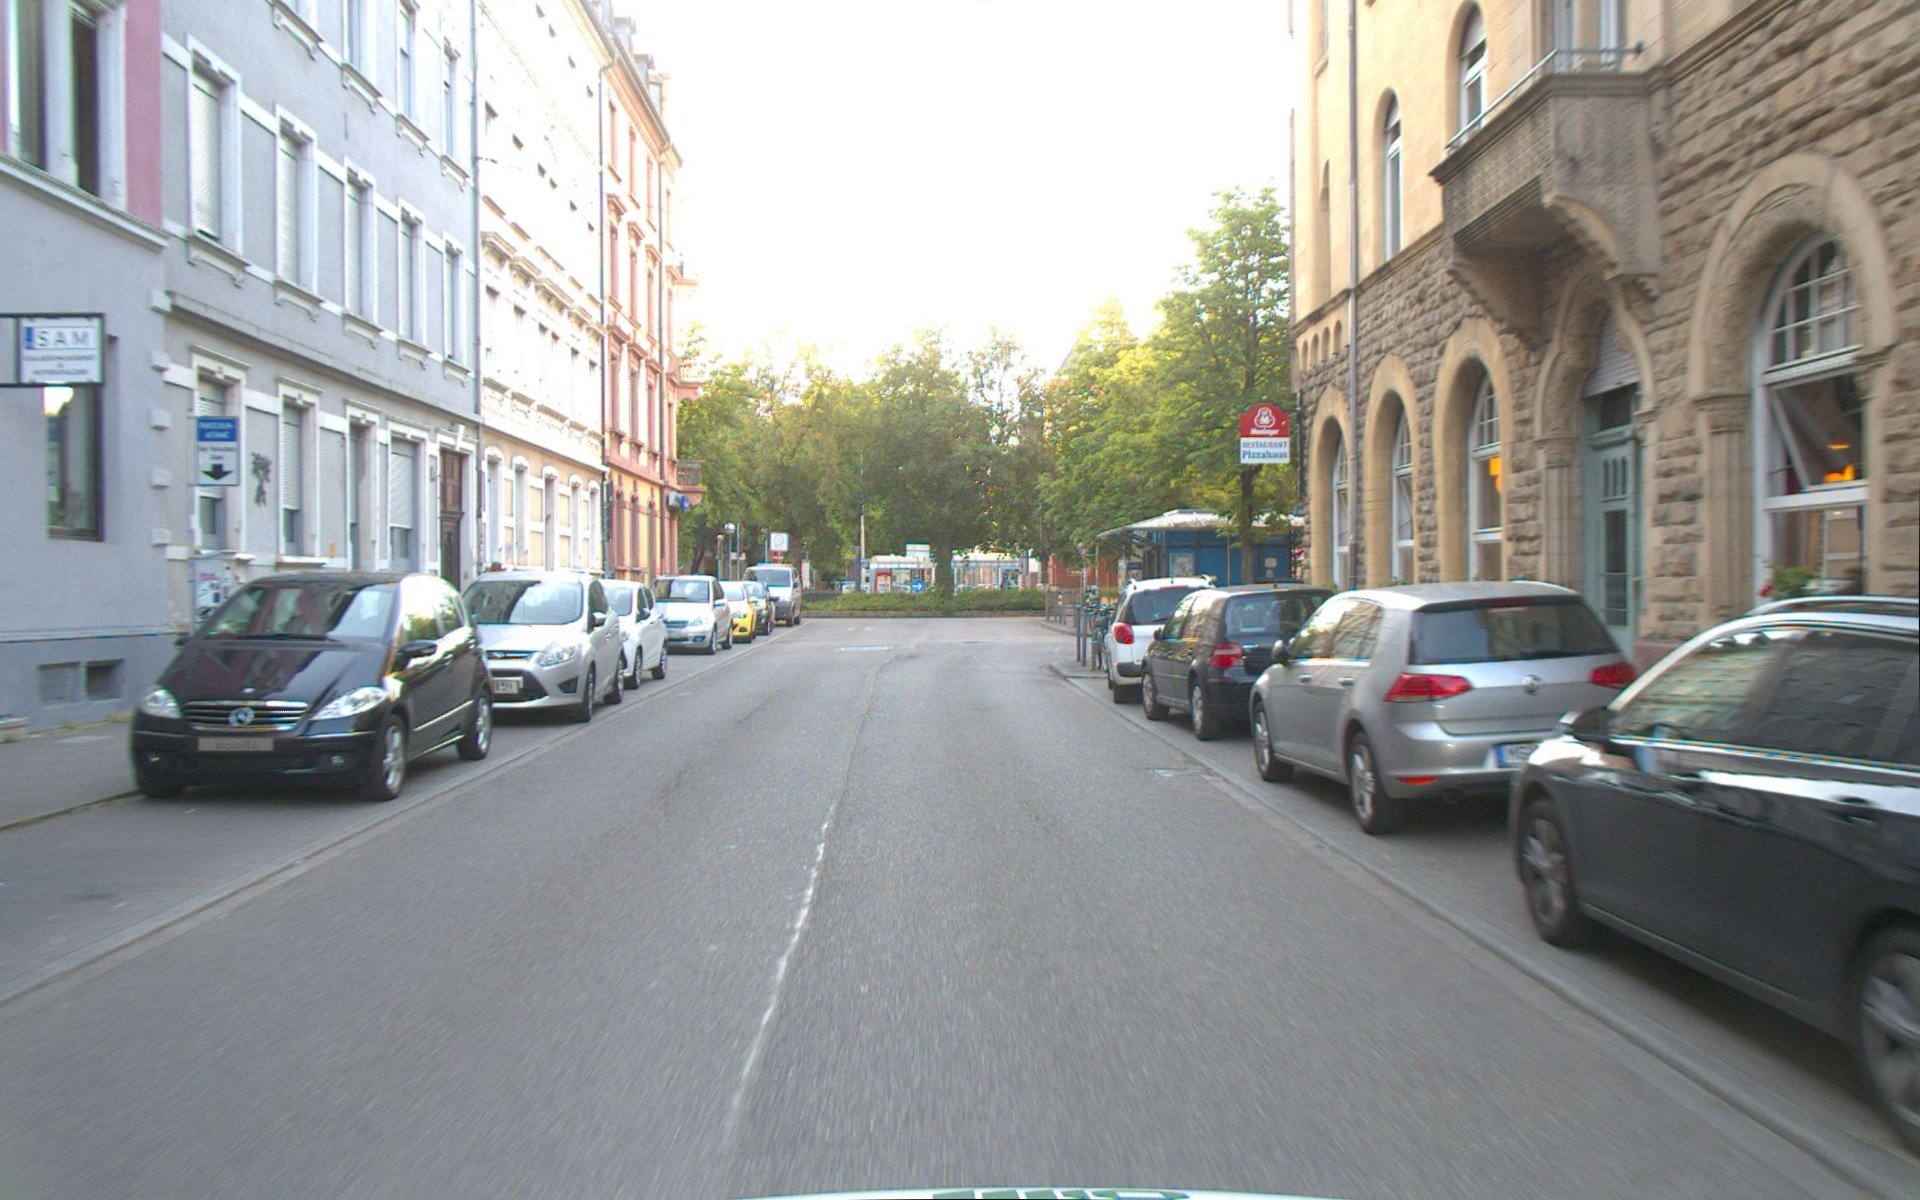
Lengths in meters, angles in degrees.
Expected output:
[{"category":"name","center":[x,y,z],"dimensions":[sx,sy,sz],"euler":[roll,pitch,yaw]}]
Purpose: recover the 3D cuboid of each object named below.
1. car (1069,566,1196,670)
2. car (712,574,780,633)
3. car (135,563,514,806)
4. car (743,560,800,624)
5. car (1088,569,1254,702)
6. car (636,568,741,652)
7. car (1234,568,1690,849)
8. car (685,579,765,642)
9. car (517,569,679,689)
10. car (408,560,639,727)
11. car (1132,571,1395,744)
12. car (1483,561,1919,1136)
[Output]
[{"category":"car","center":[2.836,0.256,27.975],"dimensions":[1.642,1.527,4.018],"euler":[-3,1,0]},{"category":"car","center":[-6.065,0.079,47.292],"dimensions":[1.665,1.579,4.019],"euler":[1,0,-4]},{"category":"car","center":[-4.715,0.539,12.842],"dimensions":[1.603,1.593,3.780],"euler":[1,1,-3]},{"category":"car","center":[-6.302,-0.278,55.432],"dimensions":[1.776,2.011,4.181],"euler":[1,0,-6]},{"category":"car","center":[2.734,0.406,22.154],"dimensions":[1.642,1.527,3.901],"euler":[-3,1,0]},{"category":"car","center":[-5.701,0.178,35.114],"dimensions":[1.664,1.649,4.020],"euler":[1,0,-2]},{"category":"car","center":[3.182,0.582,11.421],"dimensions":[1.643,1.481,4.228],"euler":[-3,1,-2]},{"category":"car","center":[-5.839,0.231,41.368],"dimensions":[1.665,1.451,4.019],"euler":[1,0,-4]},{"category":"car","center":[-5.230,0.379,24.292],"dimensions":[1.664,1.579,3.568],"euler":[1,0,-2]},{"category":"car","center":[-4.867,0.422,19.019],"dimensions":[1.808,1.688,4.249],"euler":[-1,1,-5]},{"category":"car","center":[2.993,0.508,17.083],"dimensions":[1.644,1.481,3.796],"euler":[-3,1,-5]},{"category":"car","center":[3.335,0.640,5.482],"dimensions":[1.642,1.453,4.477],"euler":[-4,1,-1]}]
